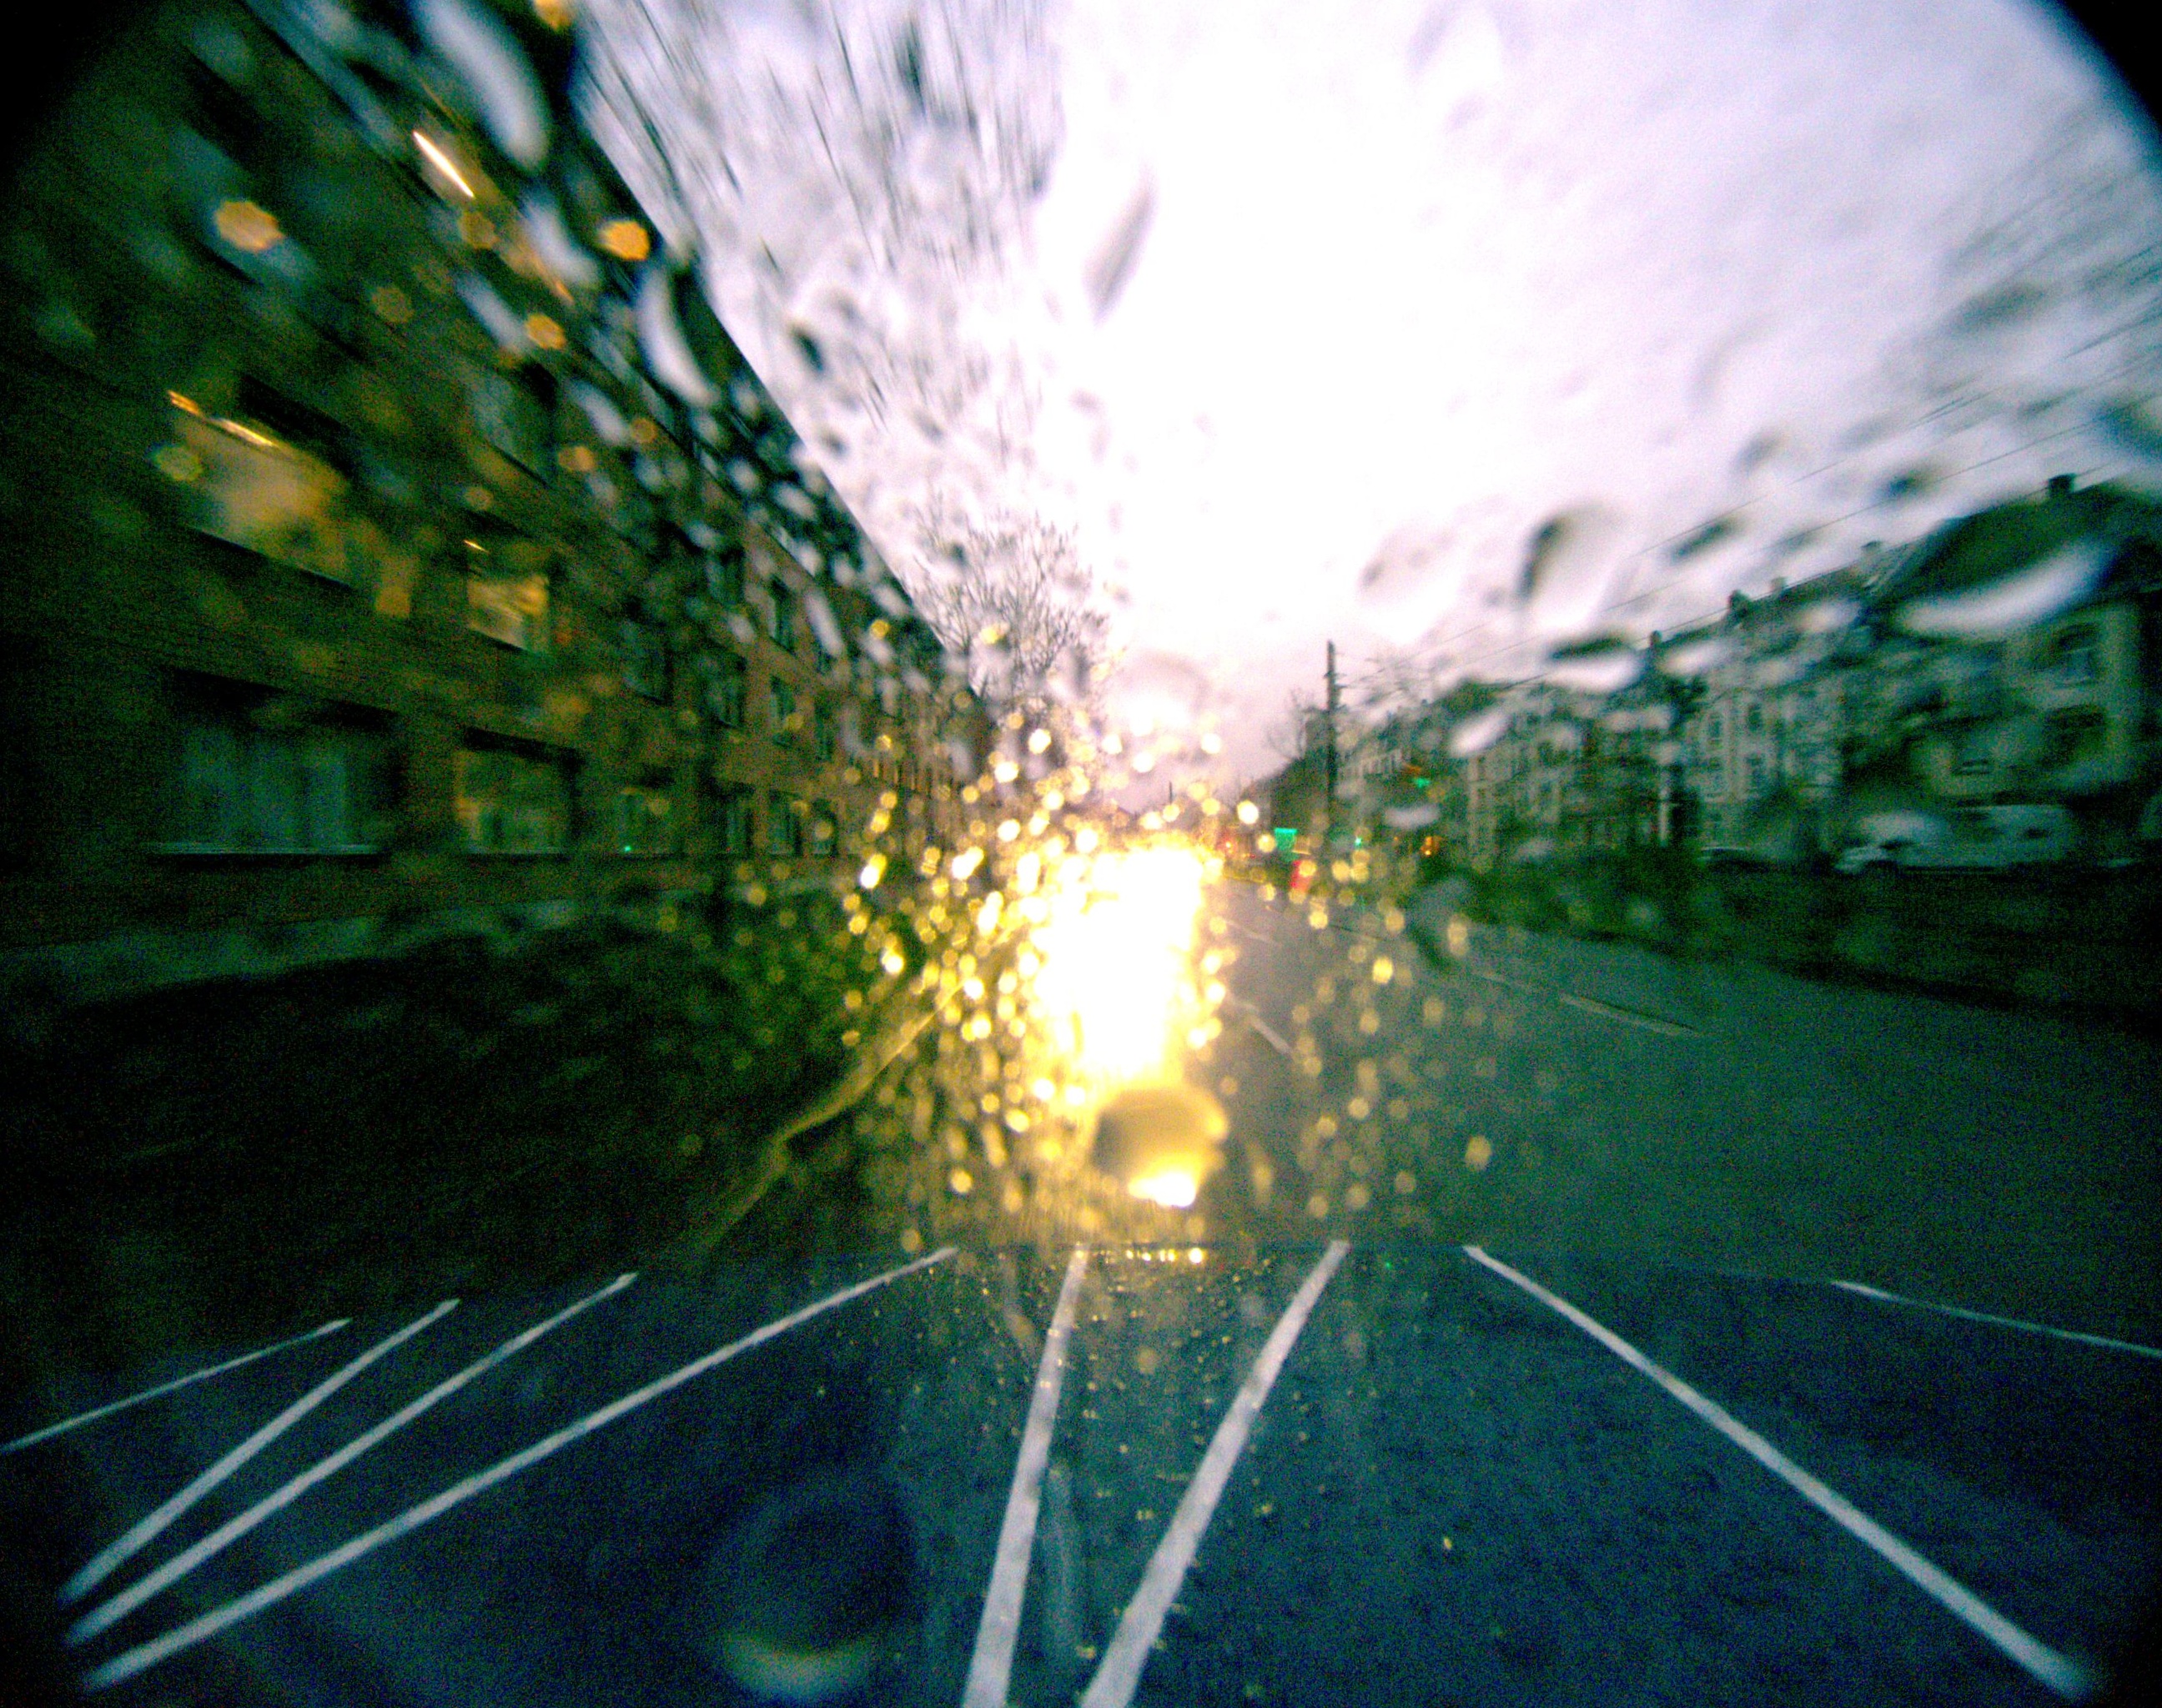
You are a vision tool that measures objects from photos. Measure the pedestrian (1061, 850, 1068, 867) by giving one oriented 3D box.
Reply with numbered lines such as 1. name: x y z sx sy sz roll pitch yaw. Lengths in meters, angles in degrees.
1. pedestrian: -1.677 0.439 78.495 0.506 1.732 0.656 -1 1 -32

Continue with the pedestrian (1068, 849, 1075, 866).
1. pedestrian: -1.018 0.384 80.743 0.506 1.814 0.656 0 1 -25

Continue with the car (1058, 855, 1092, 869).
1. car: -0.686 0.943 89.754 3.996 1.547 1.742 1 1 2

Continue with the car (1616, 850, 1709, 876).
1. car: 31.991 0.467 41.892 3.988 1.324 2.004 0 1 36

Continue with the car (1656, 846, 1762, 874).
1. car: 31.685 0.269 38.514 3.988 1.324 2.004 0 1 36

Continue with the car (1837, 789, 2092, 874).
1. car: 31.726 -0.759 27.685 5.850 2.781 2.004 0 1 42

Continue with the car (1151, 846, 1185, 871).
1. car: 5.760 0.273 50.643 1.813 1.488 4.053 -2 1 1

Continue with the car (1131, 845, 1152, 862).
1. car: 6.543 -0.052 82.467 1.998 1.745 4.000 0 0 0

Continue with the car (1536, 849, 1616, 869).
1. car: 30.756 0.307 47.270 3.988 1.162 2.004 0 1 39

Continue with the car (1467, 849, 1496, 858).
1. car: 49.240 -0.087 93.423 2.897 1.069 1.331 0 1 0

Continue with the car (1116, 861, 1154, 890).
1. car: 2.933 1.128 41.941 1.813 1.385 4.053 -2 1 1

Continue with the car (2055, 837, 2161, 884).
1. car: 31.646 0.180 21.929 3.988 1.324 2.004 0 1 38

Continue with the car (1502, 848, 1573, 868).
1. car: 31.192 0.278 51.952 3.988 1.324 2.004 0 1 37
